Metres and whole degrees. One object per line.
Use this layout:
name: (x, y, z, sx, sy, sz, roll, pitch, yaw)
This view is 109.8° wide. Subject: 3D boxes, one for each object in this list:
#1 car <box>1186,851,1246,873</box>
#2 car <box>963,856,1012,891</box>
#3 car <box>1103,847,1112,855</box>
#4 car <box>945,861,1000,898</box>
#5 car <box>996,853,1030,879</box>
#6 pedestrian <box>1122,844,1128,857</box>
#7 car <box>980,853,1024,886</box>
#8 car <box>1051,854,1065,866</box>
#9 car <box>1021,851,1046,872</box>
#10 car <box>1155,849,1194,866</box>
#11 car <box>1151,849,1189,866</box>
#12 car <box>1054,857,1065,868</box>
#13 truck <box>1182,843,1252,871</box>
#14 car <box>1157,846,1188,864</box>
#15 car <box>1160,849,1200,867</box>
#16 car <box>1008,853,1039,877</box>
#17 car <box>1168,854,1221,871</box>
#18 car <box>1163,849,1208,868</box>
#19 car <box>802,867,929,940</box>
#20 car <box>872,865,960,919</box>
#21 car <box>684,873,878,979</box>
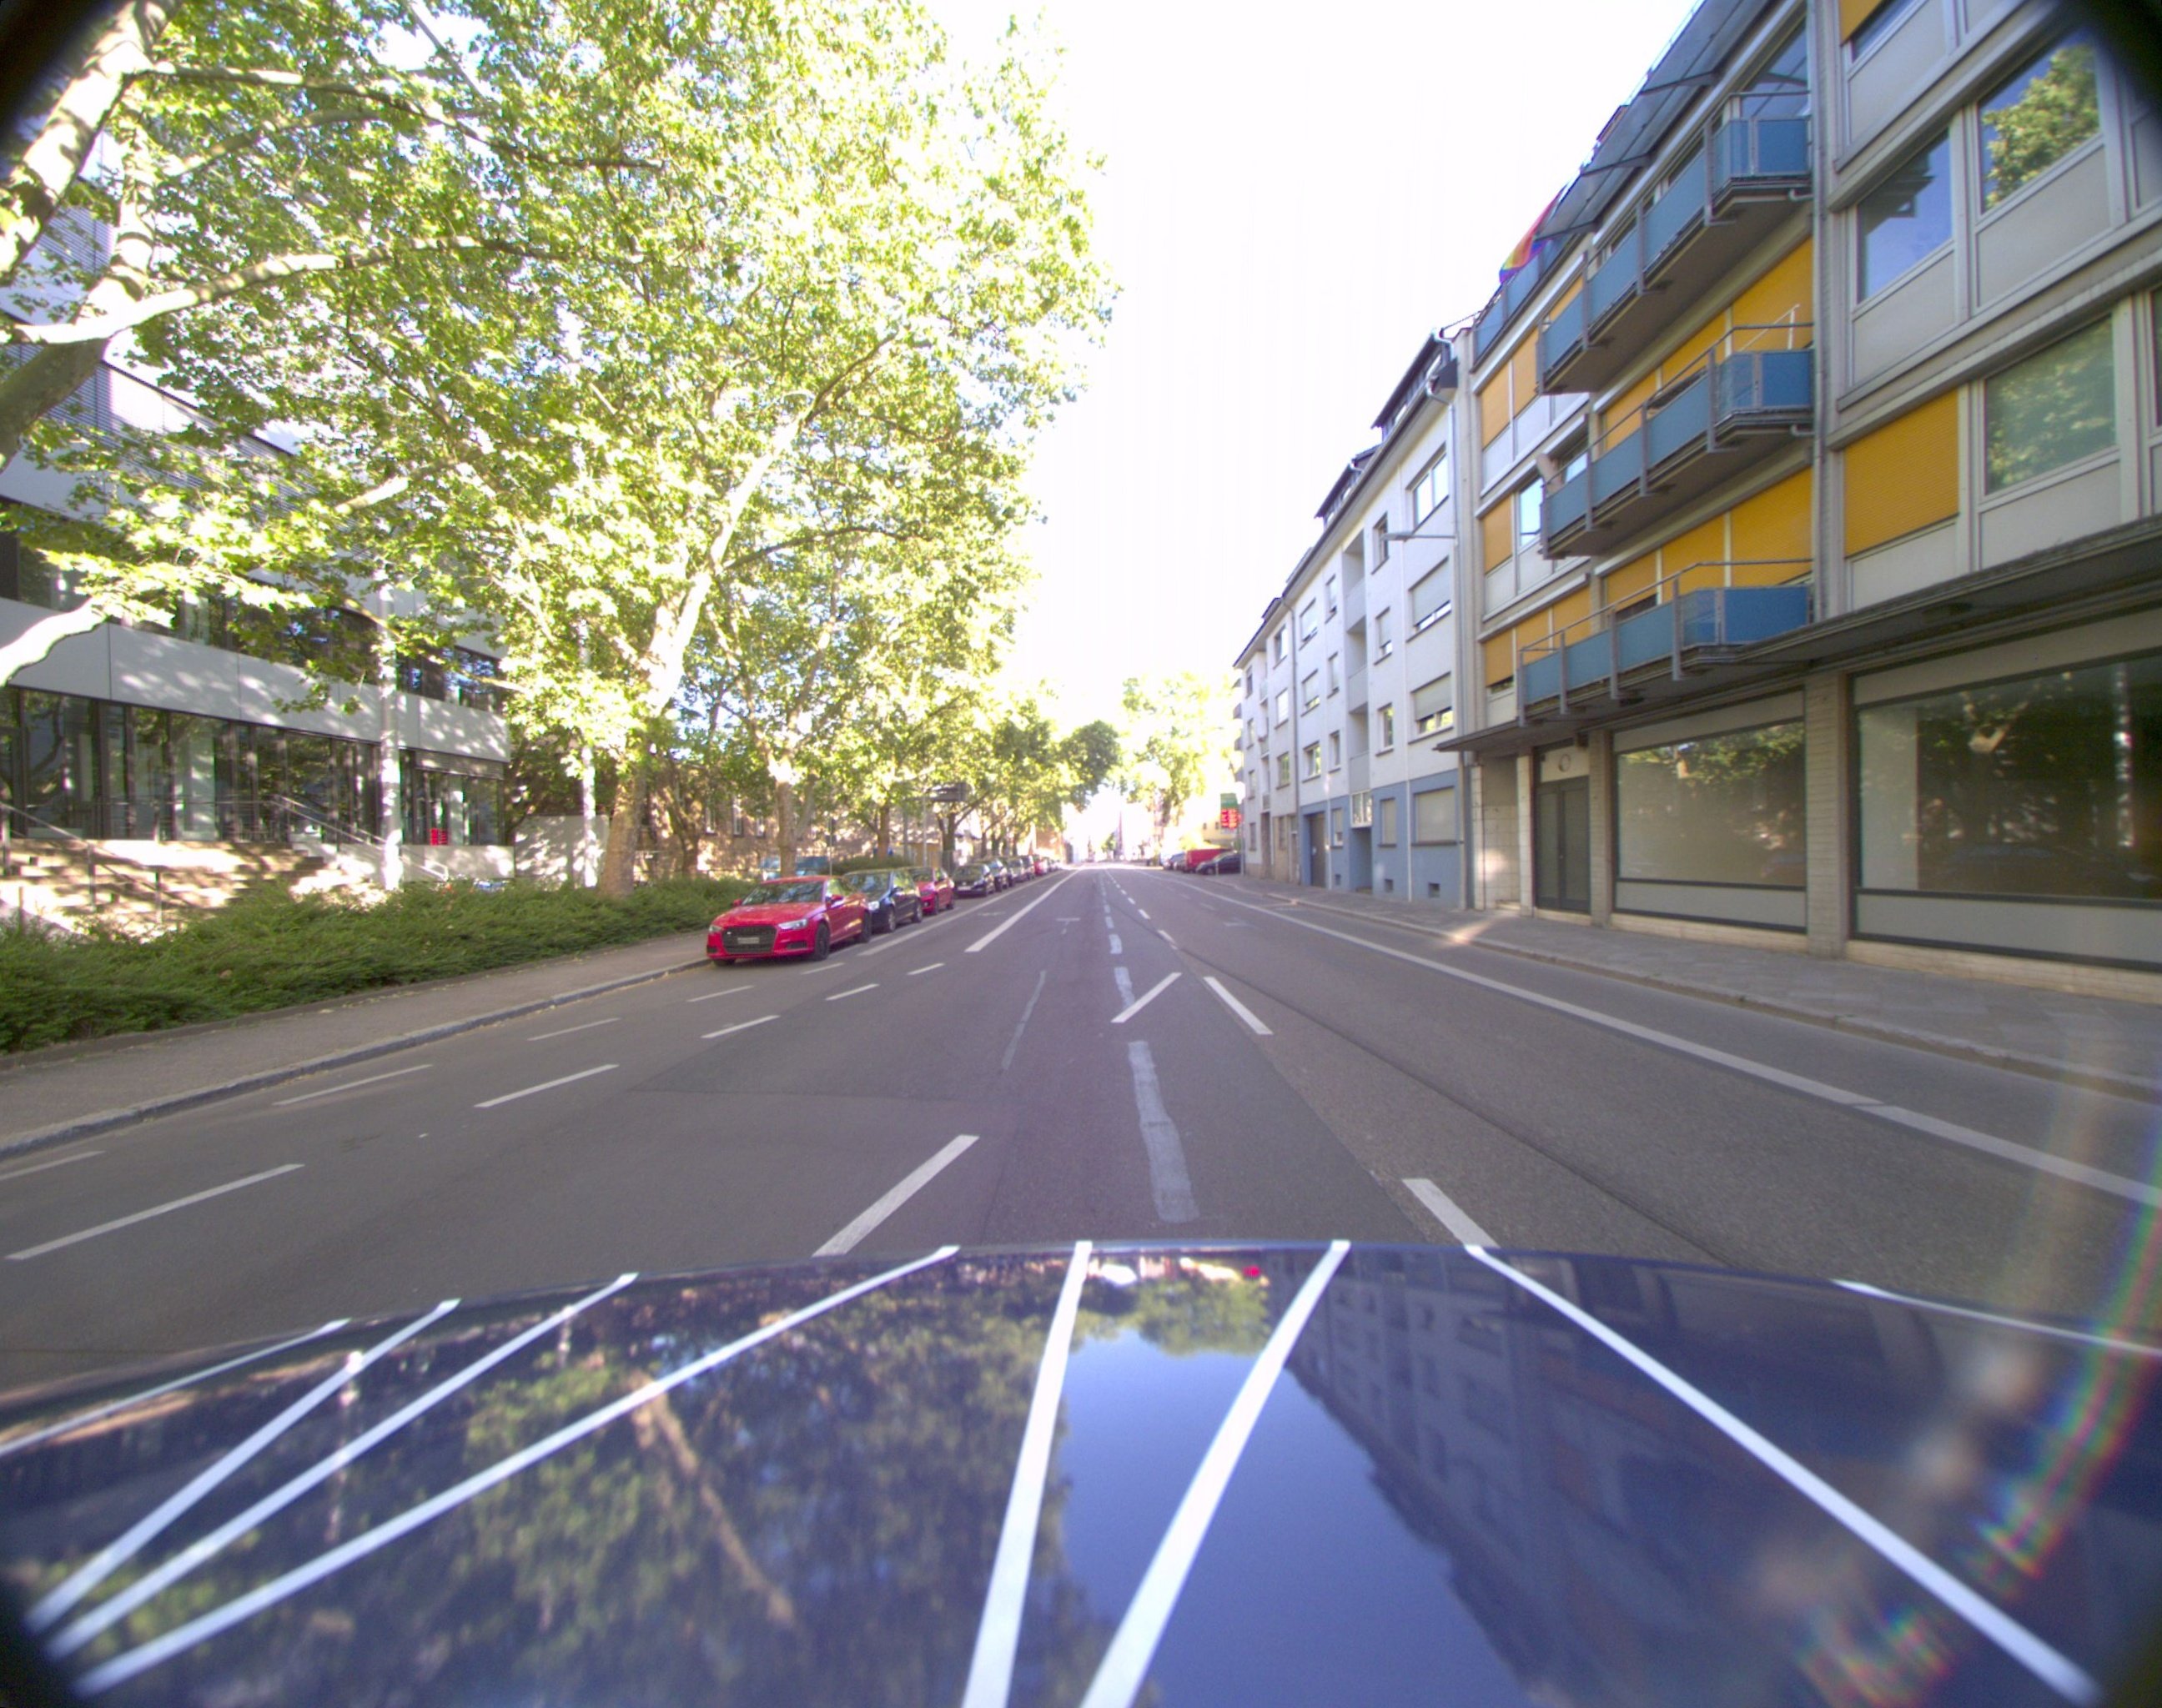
car: (9.705, 0.548, 54.832, 3.997, 1.385, 1.781, -2, 1, -1)
car: (-4.624, 0.922, 38.207, 1.848, 1.572, 4.232, -2, 0, 1)
car: (6.765, -0.790, 193.459, 1.998, 2.002, 3.999, -2, 1, 1)
car: (-4.678, 1.084, 33.261, 1.745, 1.430, 4.000, -1, 0, 1)
car: (-4.442, 0.741, 50.451, 1.798, 1.608, 4.075, -1, 0, 1)
pedestrian: (11.373, -0.958, 195.489, 1.358, 3.172, 1.897, -2, 1, 1)
car: (-4.546, 0.870, 44.190, 1.998, 1.715, 4.262, -2, 1, 1)
car: (-3.063, 0.823, 102.854, 1.707, 1.459, 3.809, -1, 0, 0)
car: (-4.108, 0.618, 66.177, 1.876, 1.685, 4.166, -1, 0, 1)
car: (9.614, 0.382, 78.566, 3.703, 1.573, 1.718, -2, 1, -5)
car: (9.485, 0.378, 80.857, 3.728, 1.579, 1.743, -2, 1, -5)
car: (-2.629, 1.031, 92.486, 1.300, 1.220, 3.241, -1, 0, 0)
truck: (10.726, 0.242, 60.093, 5.088, 2.009, 2.000, -2, 1, 0)
car: (10.228, 0.112, 85.228, 3.267, 1.927, 1.693, -2, 1, 2)
car: (9.879, 0.386, 75.908, 3.658, 1.578, 1.659, -2, 1, -5)
car: (-4.170, 0.753, 55.507, 1.831, 1.608, 4.177, -1, 0, 1)
car: (9.347, 0.683, 62.812, 4.033, 1.265, 1.906, -2, 1, -1)
car: (10.083, 0.453, 73.361, 3.998, 1.618, 1.702, -2, 1, -5)
car: (-5.075, 1.116, 18.504, 1.813, 1.449, 4.000, -1, 0, 2)
car: (-5.030, 1.110, 23.683, 1.790, 1.429, 4.000, -1, 0, 1)
car: (-5.114, 1.143, 13.644, 1.775, 1.416, 4.173, -3, 0, 0)
